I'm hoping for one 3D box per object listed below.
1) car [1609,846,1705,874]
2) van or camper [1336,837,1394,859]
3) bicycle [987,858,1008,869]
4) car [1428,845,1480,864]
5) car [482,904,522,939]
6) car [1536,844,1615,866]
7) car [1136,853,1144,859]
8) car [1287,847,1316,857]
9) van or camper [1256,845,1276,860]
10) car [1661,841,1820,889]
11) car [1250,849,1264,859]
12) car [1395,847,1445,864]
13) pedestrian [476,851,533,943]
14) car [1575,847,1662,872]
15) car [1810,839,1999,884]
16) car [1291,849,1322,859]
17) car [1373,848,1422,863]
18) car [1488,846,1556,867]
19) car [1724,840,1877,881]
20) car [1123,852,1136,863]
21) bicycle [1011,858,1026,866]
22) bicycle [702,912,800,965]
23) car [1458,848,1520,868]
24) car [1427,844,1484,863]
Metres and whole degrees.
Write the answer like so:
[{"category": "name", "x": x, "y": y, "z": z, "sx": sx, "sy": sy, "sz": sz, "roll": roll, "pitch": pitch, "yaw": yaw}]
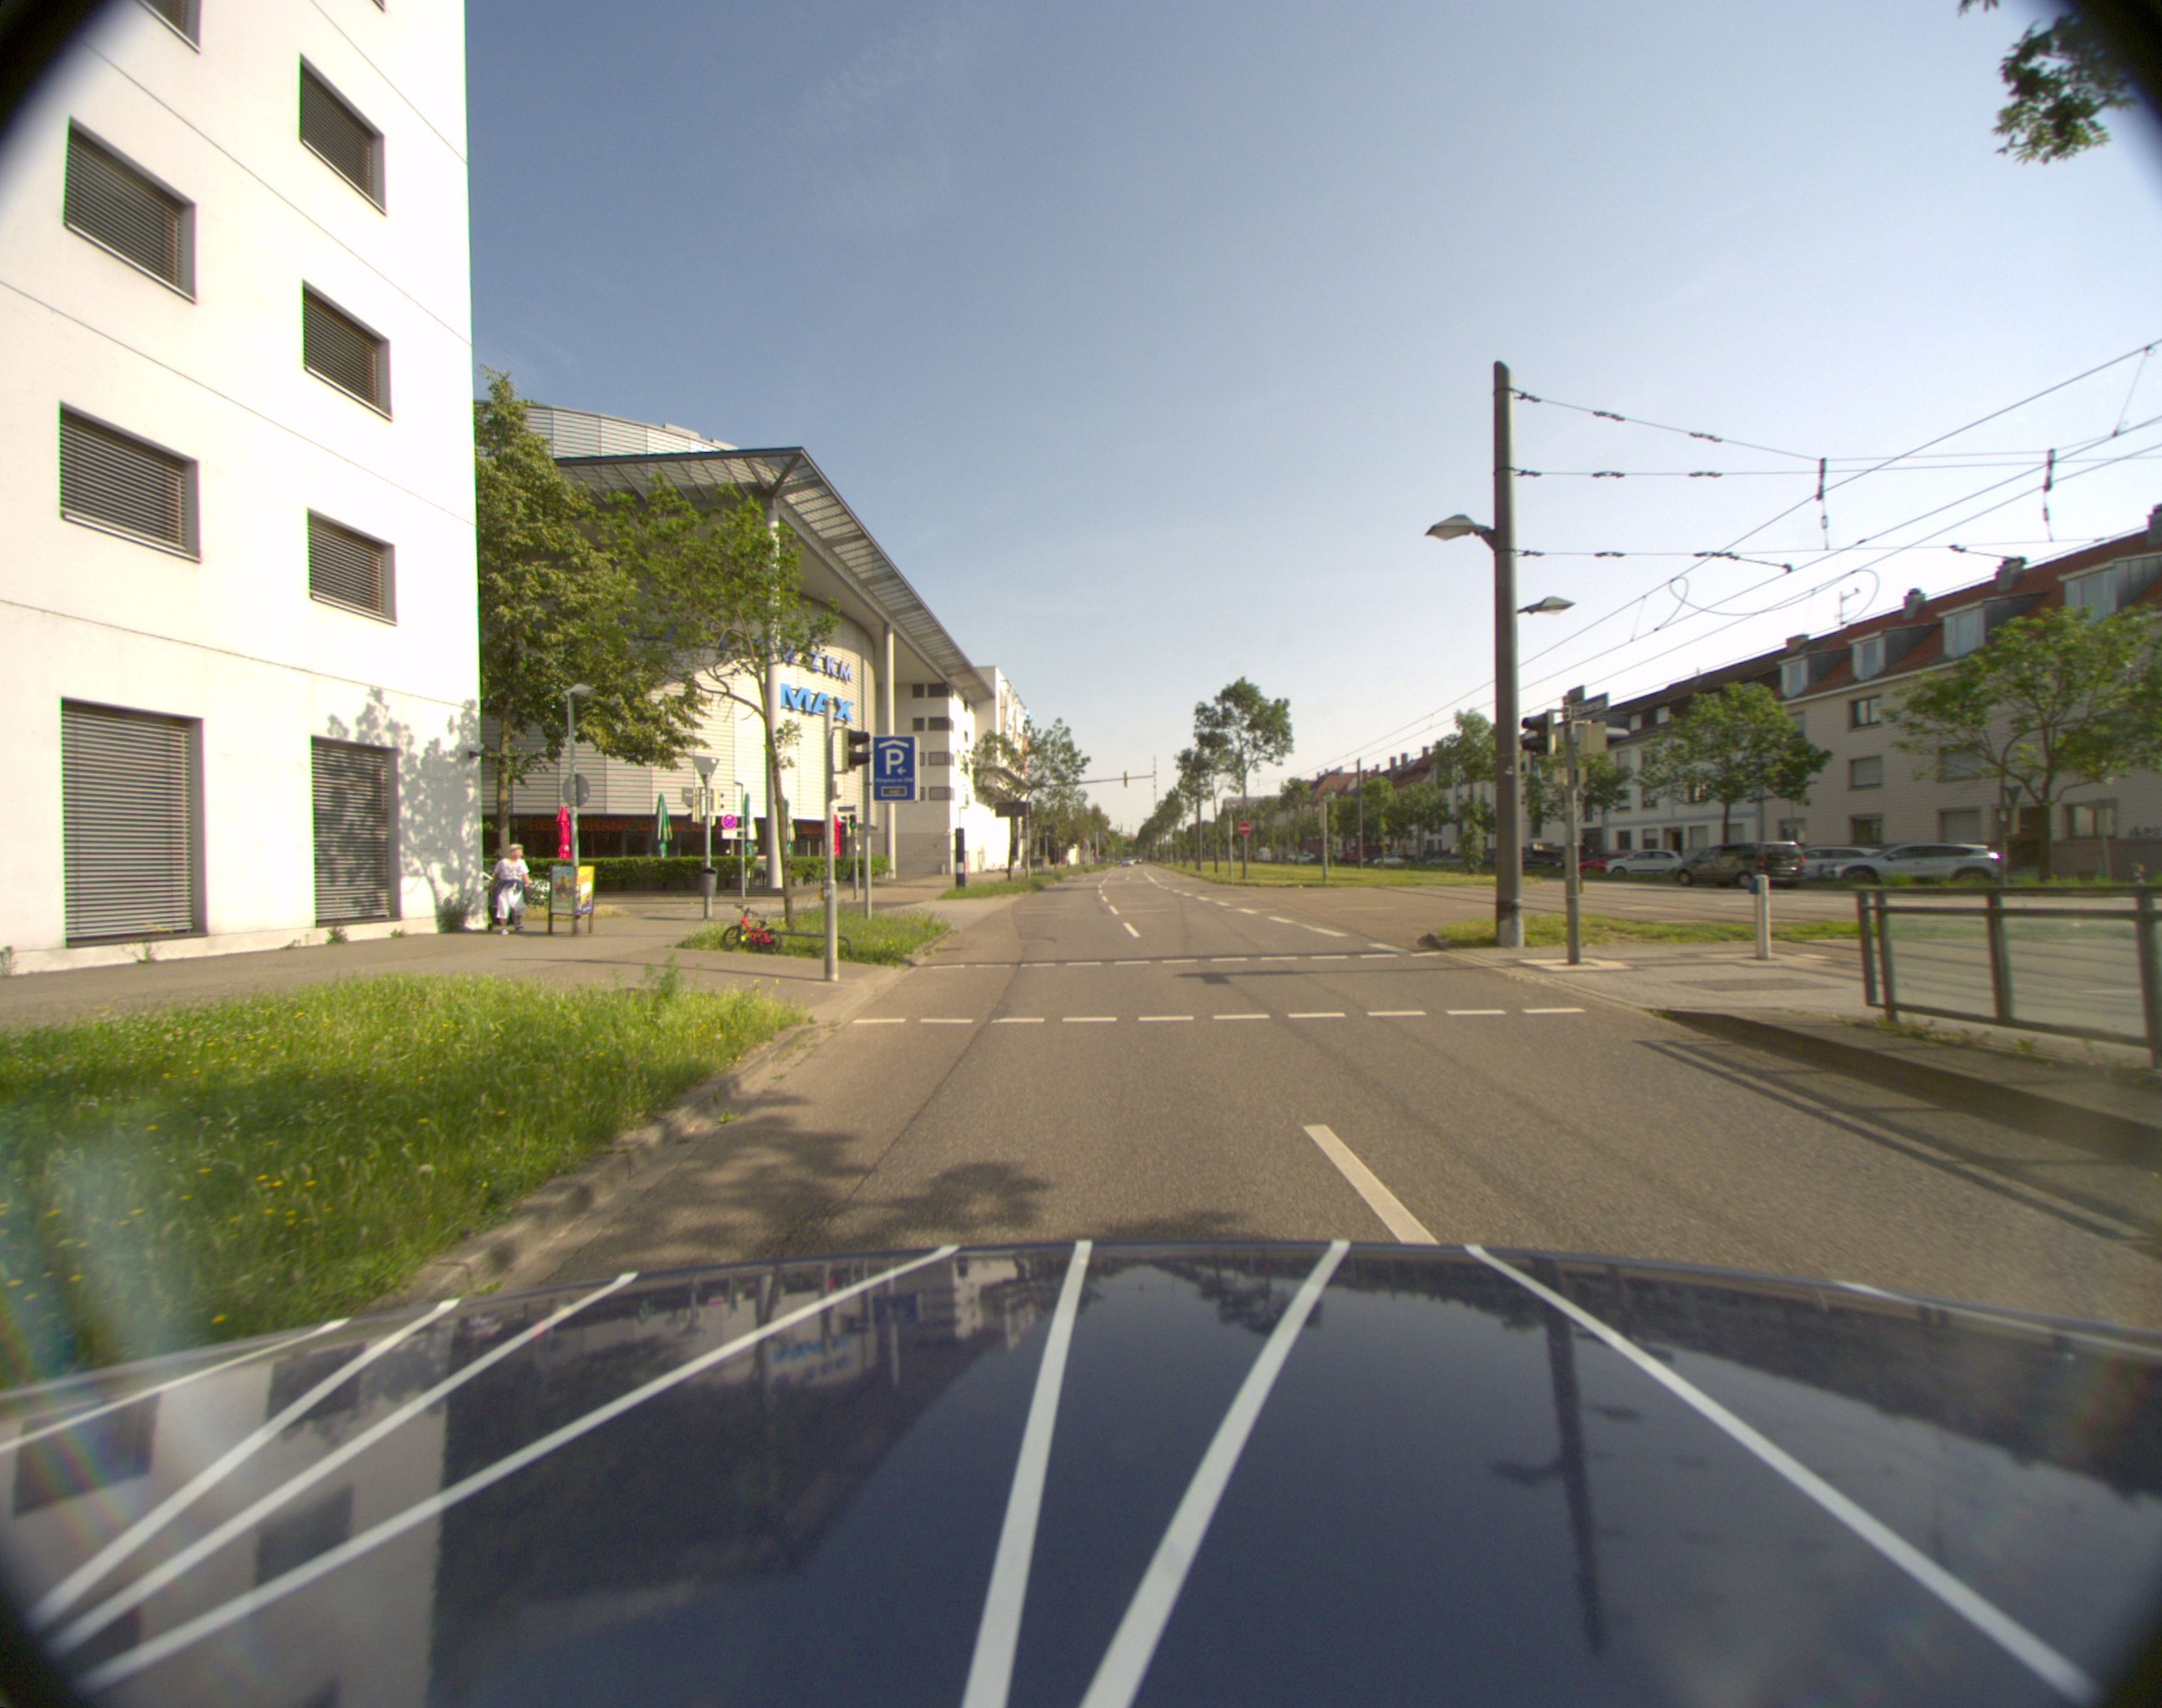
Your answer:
[{"category": "car", "x": 30.795, "y": 0.326, "z": 40.780, "sx": 3.989, "sy": 1.262, "sz": 1.890, "roll": -3, "pitch": 0, "yaw": 33}, {"category": "van or camper", "x": 34.417, "y": -0.741, "z": 92.252, "sx": 6.144, "sy": 2.532, "sz": 2.419, "roll": -1, "pitch": 0, "yaw": 41}, {"category": "bicycle", "x": -8.459, "y": 0.994, "z": 77.190, "sx": 2.012, "sy": 1.096, "sz": 0.676, "roll": -1, "pitch": 1, "yaw": 8}, {"category": "car", "x": 31.467, "y": 0.031, "z": 64.100, "sx": 3.771, "sy": 1.368, "sz": 1.667, "roll": -3, "pitch": 0, "yaw": 29}, {"category": "car", "x": -10.905, "y": 1.261, "z": 14.317, "sx": 0.499, "sy": 0.584, "sz": 0.766, "roll": -1, "pitch": 0, "yaw": -30}, {"category": "car", "x": 30.839, "y": 0.064, "z": 47.449, "sx": 3.989, "sy": 1.227, "sz": 1.702, "roll": -3, "pitch": 0, "yaw": 37}, {"category": "car", "x": 15.537, "y": 0.569, "z": 198.860, "sx": 1.998, "sy": 1.652, "sz": 4.001, "roll": -1, "pitch": 0, "yaw": 3}, {"category": "car", "x": 36.032, "y": -0.343, "z": 124.161, "sx": 4.088, "sy": 1.520, "sz": 1.816, "roll": -3, "pitch": 0, "yaw": 41}, {"category": "van or camper", "x": 30.730, "y": -0.235, "z": 126.096, "sx": 2.146, "sy": 2.459, "sz": 6.060, "roll": 1, "pitch": 0, "yaw": 3}, {"category": "car", "x": 25.522, "y": 0.378, "z": 29.692, "sx": 1.999, "sy": 1.696, "sz": 4.711, "roll": 2, "pitch": 1, "yaw": -1}, {"category": "car", "x": 31.262, "y": -0.083, "z": 135.188, "sx": 1.820, "sy": 1.728, "sz": 4.162, "roll": 0, "pitch": 0, "yaw": 5}, {"category": "car", "x": 31.538, "y": 0.131, "z": 70.732, "sx": 3.990, "sy": 1.368, "sz": 1.930, "roll": -3, "pitch": 0, "yaw": 31}, {"category": "pedestrian", "x": -10.394, "y": 0.748, "z": 13.723, "sx": 0.714, "sy": 1.606, "sz": 0.778, "roll": -1, "pitch": 1, "yaw": -30}, {"category": "car", "x": 30.932, "y": 0.302, "z": 43.783, "sx": 3.989, "sy": 1.251, "sz": 1.879, "roll": -3, "pitch": 0, "yaw": 36}, {"category": "car", "x": 29.764, "y": 0.286, "z": 27.702, "sx": 4.341, "sy": 1.455, "sz": 1.967, "roll": -3, "pitch": 0, "yaw": 37}, {"category": "car", "x": 35.978, "y": 0.012, "z": 121.245, "sx": 4.355, "sy": 1.466, "sz": 1.861, "roll": -3, "pitch": 0, "yaw": 41}, {"category": "car", "x": 33.086, "y": 0.175, "z": 79.456, "sx": 4.388, "sy": 1.312, "sz": 1.737, "roll": -3, "pitch": 0, "yaw": 36}, {"category": "car", "x": 31.066, "y": 0.170, "z": 53.601, "sx": 4.049, "sy": 1.280, "sz": 2.003, "roll": -3, "pitch": 0, "yaw": 31}, {"category": "car", "x": 29.619, "y": 0.288, "z": 31.509, "sx": 4.452, "sy": 1.505, "sz": 2.004, "roll": -3, "pitch": 0, "yaw": 40}, {"category": "car", "x": 7.369, "y": 0.536, "z": 115.371, "sx": 1.998, "sy": 1.652, "sz": 4.001, "roll": -1, "pitch": 0, "yaw": 3}, {"category": "bicycle", "x": -7.548, "y": 0.933, "z": 91.581, "sx": 1.661, "sy": 0.910, "sz": 0.483, "roll": 0, "pitch": 1, "yaw": 4}, {"category": "bicycle", "x": -5.071, "y": 1.286, "z": 11.689, "sx": 1.272, "sy": 0.629, "sz": 0.521, "roll": 5, "pitch": 2, "yaw": 10}, {"category": "car", "x": 30.612, "y": 0.324, "z": 57.082, "sx": 3.990, "sy": 1.280, "sz": 2.003, "roll": -3, "pitch": 0, "yaw": 29}, {"category": "car", "x": 32.695, "y": -0.034, "z": 66.406, "sx": 4.329, "sy": 1.368, "sz": 2.003, "roll": -3, "pitch": 0, "yaw": 29}]
